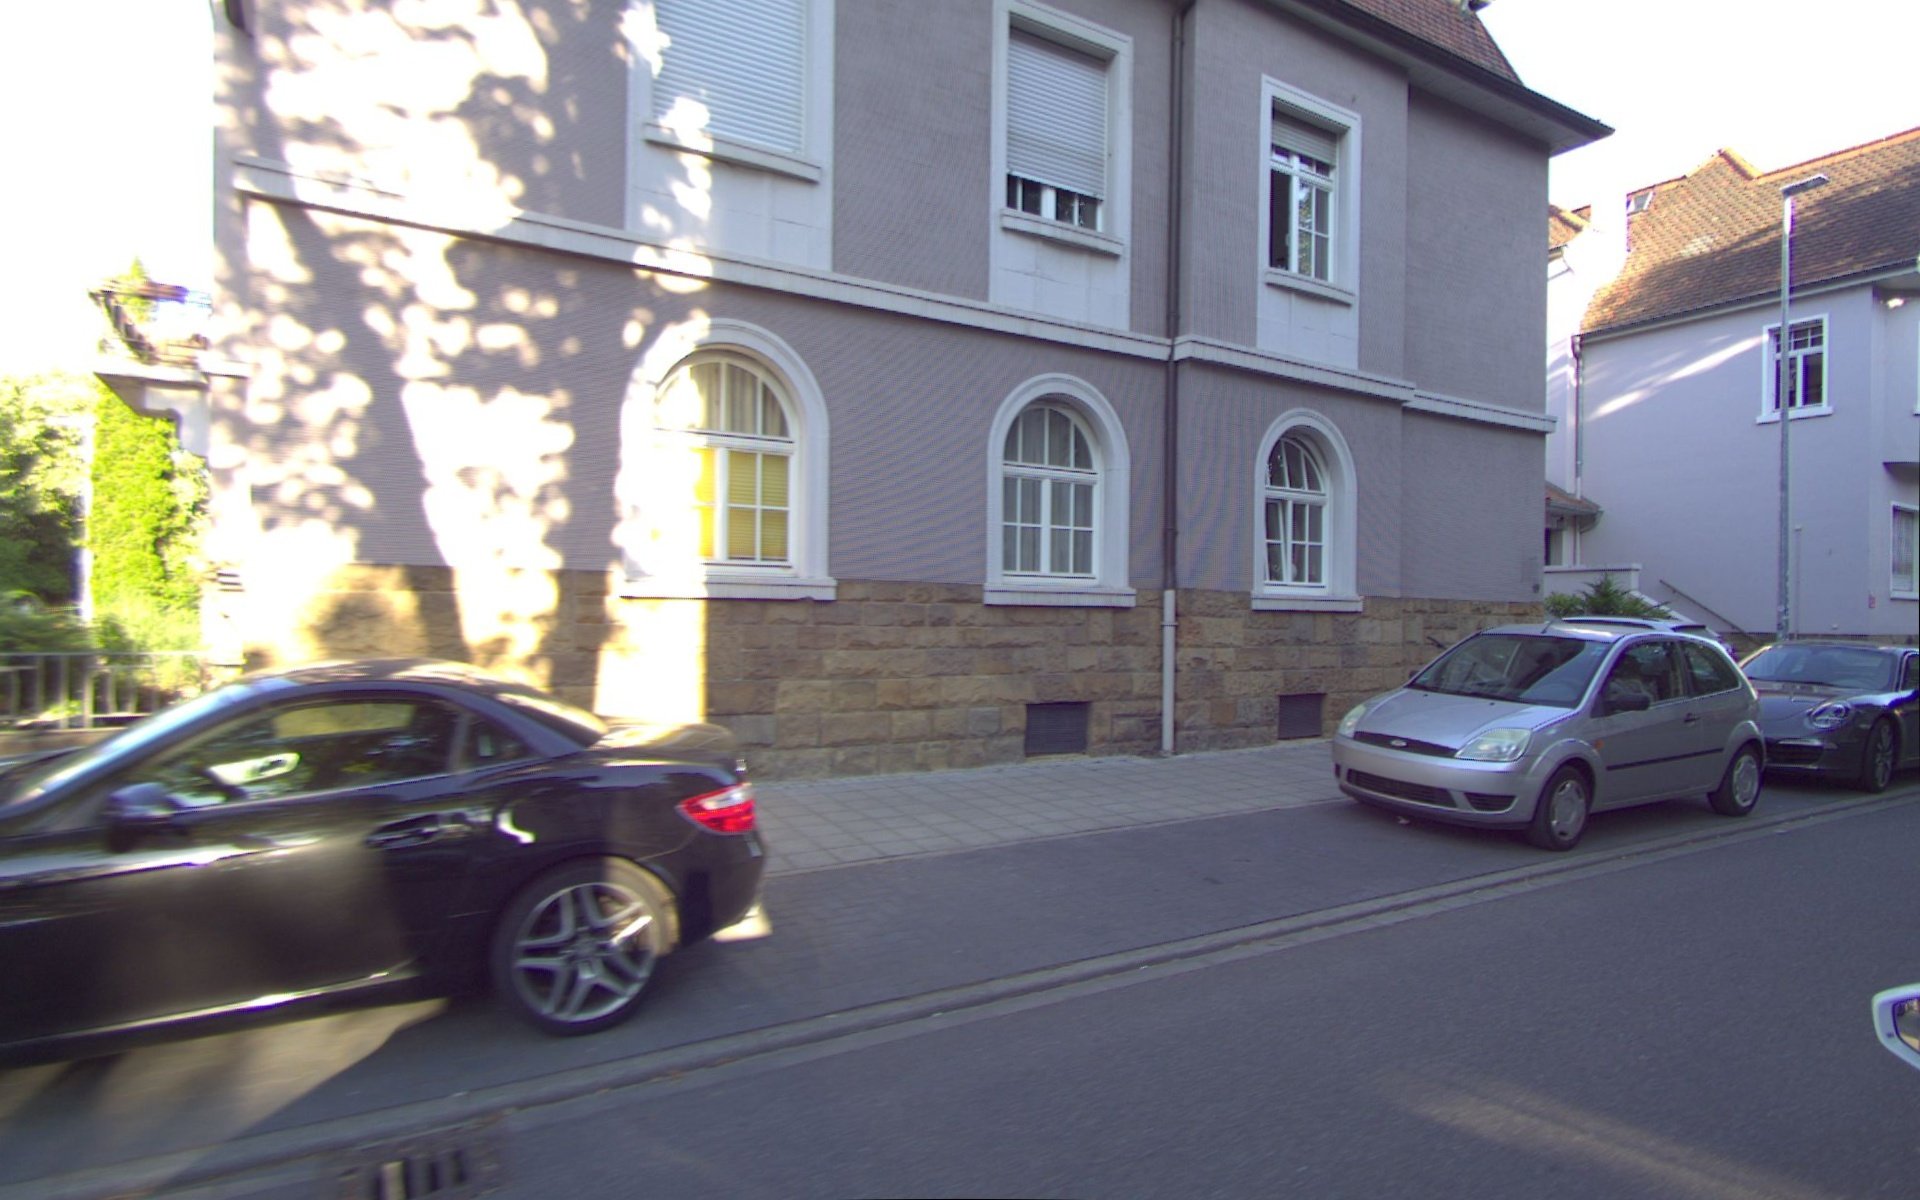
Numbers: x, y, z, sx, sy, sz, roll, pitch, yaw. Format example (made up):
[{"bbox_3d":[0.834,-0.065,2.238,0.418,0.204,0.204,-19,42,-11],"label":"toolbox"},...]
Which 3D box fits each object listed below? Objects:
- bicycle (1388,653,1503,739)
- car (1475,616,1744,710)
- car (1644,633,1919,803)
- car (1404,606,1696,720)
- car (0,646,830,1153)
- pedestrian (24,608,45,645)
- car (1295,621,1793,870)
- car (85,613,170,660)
[{"bbox_3d":[5.965,1.149,12.308,1.702,0.949,0.392,0,-1,-30],"label":"bicycle"},{"bbox_3d":[11.722,1.051,18.368,1.618,1.463,3.840,0,0,-33],"label":"car"},{"bbox_3d":[8.948,1.060,10.212,4.173,1.336,1.525,0,1,-28],"label":"car"},{"bbox_3d":[9.785,0.944,16.927,1.877,1.643,3.840,0,0,-33],"label":"car"},{"bbox_3d":[-2.669,0.908,3.838,3.995,1.341,1.647,1,0,-28],"label":"car"},{"bbox_3d":[-45.969,1.322,49.887,0.656,1.803,0.585,1,-1,-33],"label":"pedestrian"},{"bbox_3d":[4.651,0.937,7.895,3.912,1.465,1.646,0,1,-30],"label":"car"},{"bbox_3d":[-28.771,1.225,34.827,1.647,1.487,4.162,3,-2,-32],"label":"car"}]
